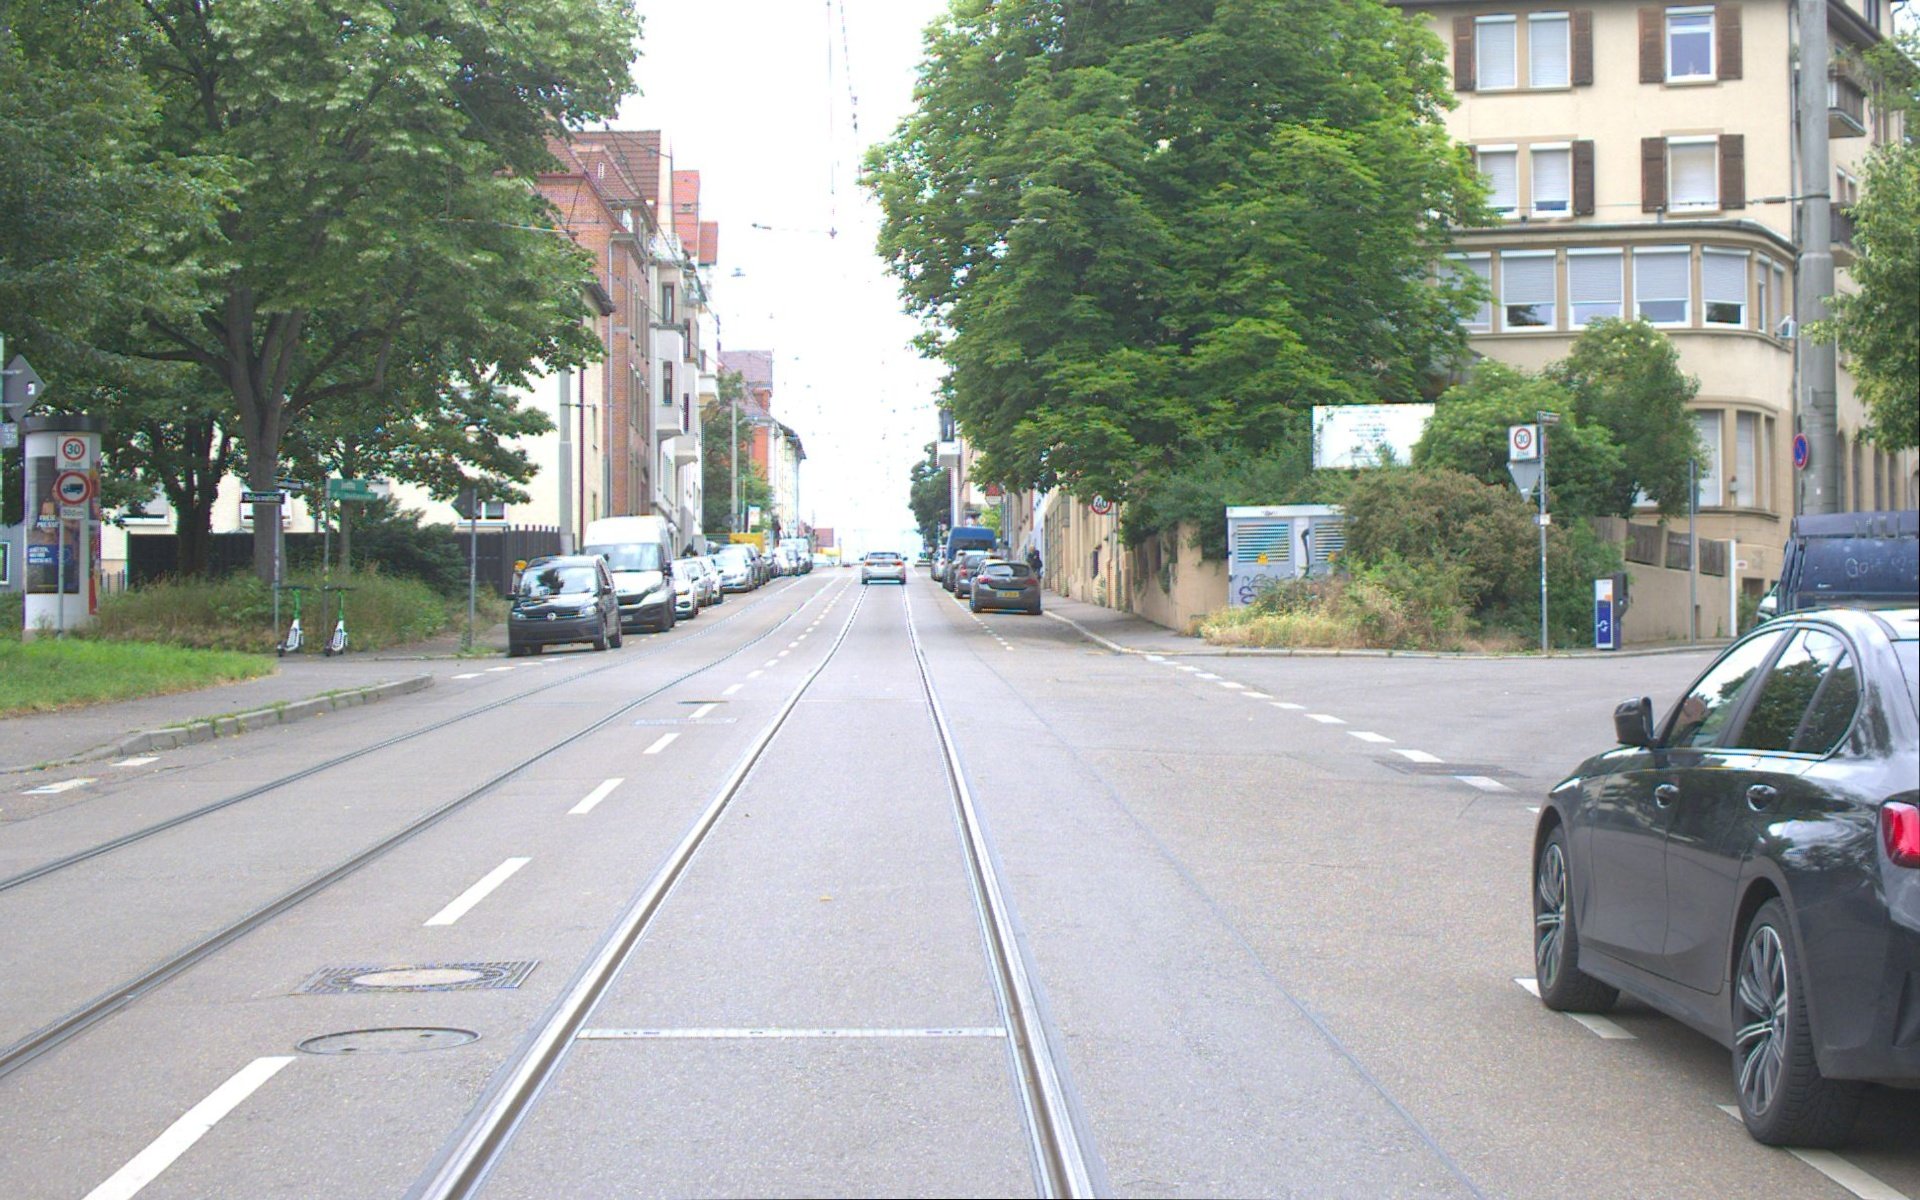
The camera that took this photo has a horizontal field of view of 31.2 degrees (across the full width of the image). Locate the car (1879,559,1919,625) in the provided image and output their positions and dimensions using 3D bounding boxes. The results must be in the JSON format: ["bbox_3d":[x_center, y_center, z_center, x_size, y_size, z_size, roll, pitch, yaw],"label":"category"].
[{"bbox_3d":[24.467,-0.191,86.413,1.996,1.612,3.995,1,0,24],"label":"car"}]

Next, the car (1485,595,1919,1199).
[{"bbox_3d":[2.948,0.753,10.352,1.828,1.425,4.848,2,1,-1],"label":"car"}]

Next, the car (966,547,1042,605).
[{"bbox_3d":[1.183,-0.656,93.276,1.993,1.524,4.312,1,0,0],"label":"car"}]

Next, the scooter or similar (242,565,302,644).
[{"bbox_3d":[-11.823,0.068,59.105,0.691,1.334,1.639,1,0,0],"label":"scooter or similar"}]

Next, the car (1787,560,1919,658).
[{"bbox_3d":[14.684,0.130,54.543,1.996,1.474,4.457,1,0,28],"label":"car"}]

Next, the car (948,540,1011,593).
[{"bbox_3d":[0.628,-1.085,113.744,1.993,1.711,4.000,0,0,-1],"label":"car"}]

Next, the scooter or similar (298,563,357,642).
[{"bbox_3d":[-10.869,0.039,59.097,0.691,1.334,1.639,1,0,0],"label":"scooter or similar"}]

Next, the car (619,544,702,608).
[{"bbox_3d":[-7.721,-0.612,88.942,1.993,1.595,4.313,1,0,-3],"label":"car"}]

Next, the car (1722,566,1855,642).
[{"bbox_3d":[17.454,0.081,72.338,1.996,1.547,3.995,1,0,24],"label":"car"}]

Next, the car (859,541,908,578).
[{"bbox_3d":[-3.178,-1.676,143.329,1.993,1.493,4.312,1,0,-1],"label":"car"}]

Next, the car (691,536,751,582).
[{"bbox_3d":[-8.492,-1.436,122.452,1.924,1.596,4.000,1,0,-1],"label":"car"}]

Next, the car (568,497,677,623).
[{"bbox_3d":[-7.671,-0.898,78.622,2.230,2.755,5.800,1,0,-3],"label":"car"}]

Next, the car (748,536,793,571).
[{"bbox_3d":[-8.930,-2.174,161.975,1.993,1.596,4.000,1,0,-1],"label":"car"}]

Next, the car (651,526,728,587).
[{"bbox_3d":[-8.304,-1.315,105.811,1.993,1.806,4.312,1,0,0],"label":"car"}]

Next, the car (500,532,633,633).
[{"bbox_3d":[-7.304,-0.323,64.138,1.993,1.802,4.000,1,0,0],"label":"car"}]
